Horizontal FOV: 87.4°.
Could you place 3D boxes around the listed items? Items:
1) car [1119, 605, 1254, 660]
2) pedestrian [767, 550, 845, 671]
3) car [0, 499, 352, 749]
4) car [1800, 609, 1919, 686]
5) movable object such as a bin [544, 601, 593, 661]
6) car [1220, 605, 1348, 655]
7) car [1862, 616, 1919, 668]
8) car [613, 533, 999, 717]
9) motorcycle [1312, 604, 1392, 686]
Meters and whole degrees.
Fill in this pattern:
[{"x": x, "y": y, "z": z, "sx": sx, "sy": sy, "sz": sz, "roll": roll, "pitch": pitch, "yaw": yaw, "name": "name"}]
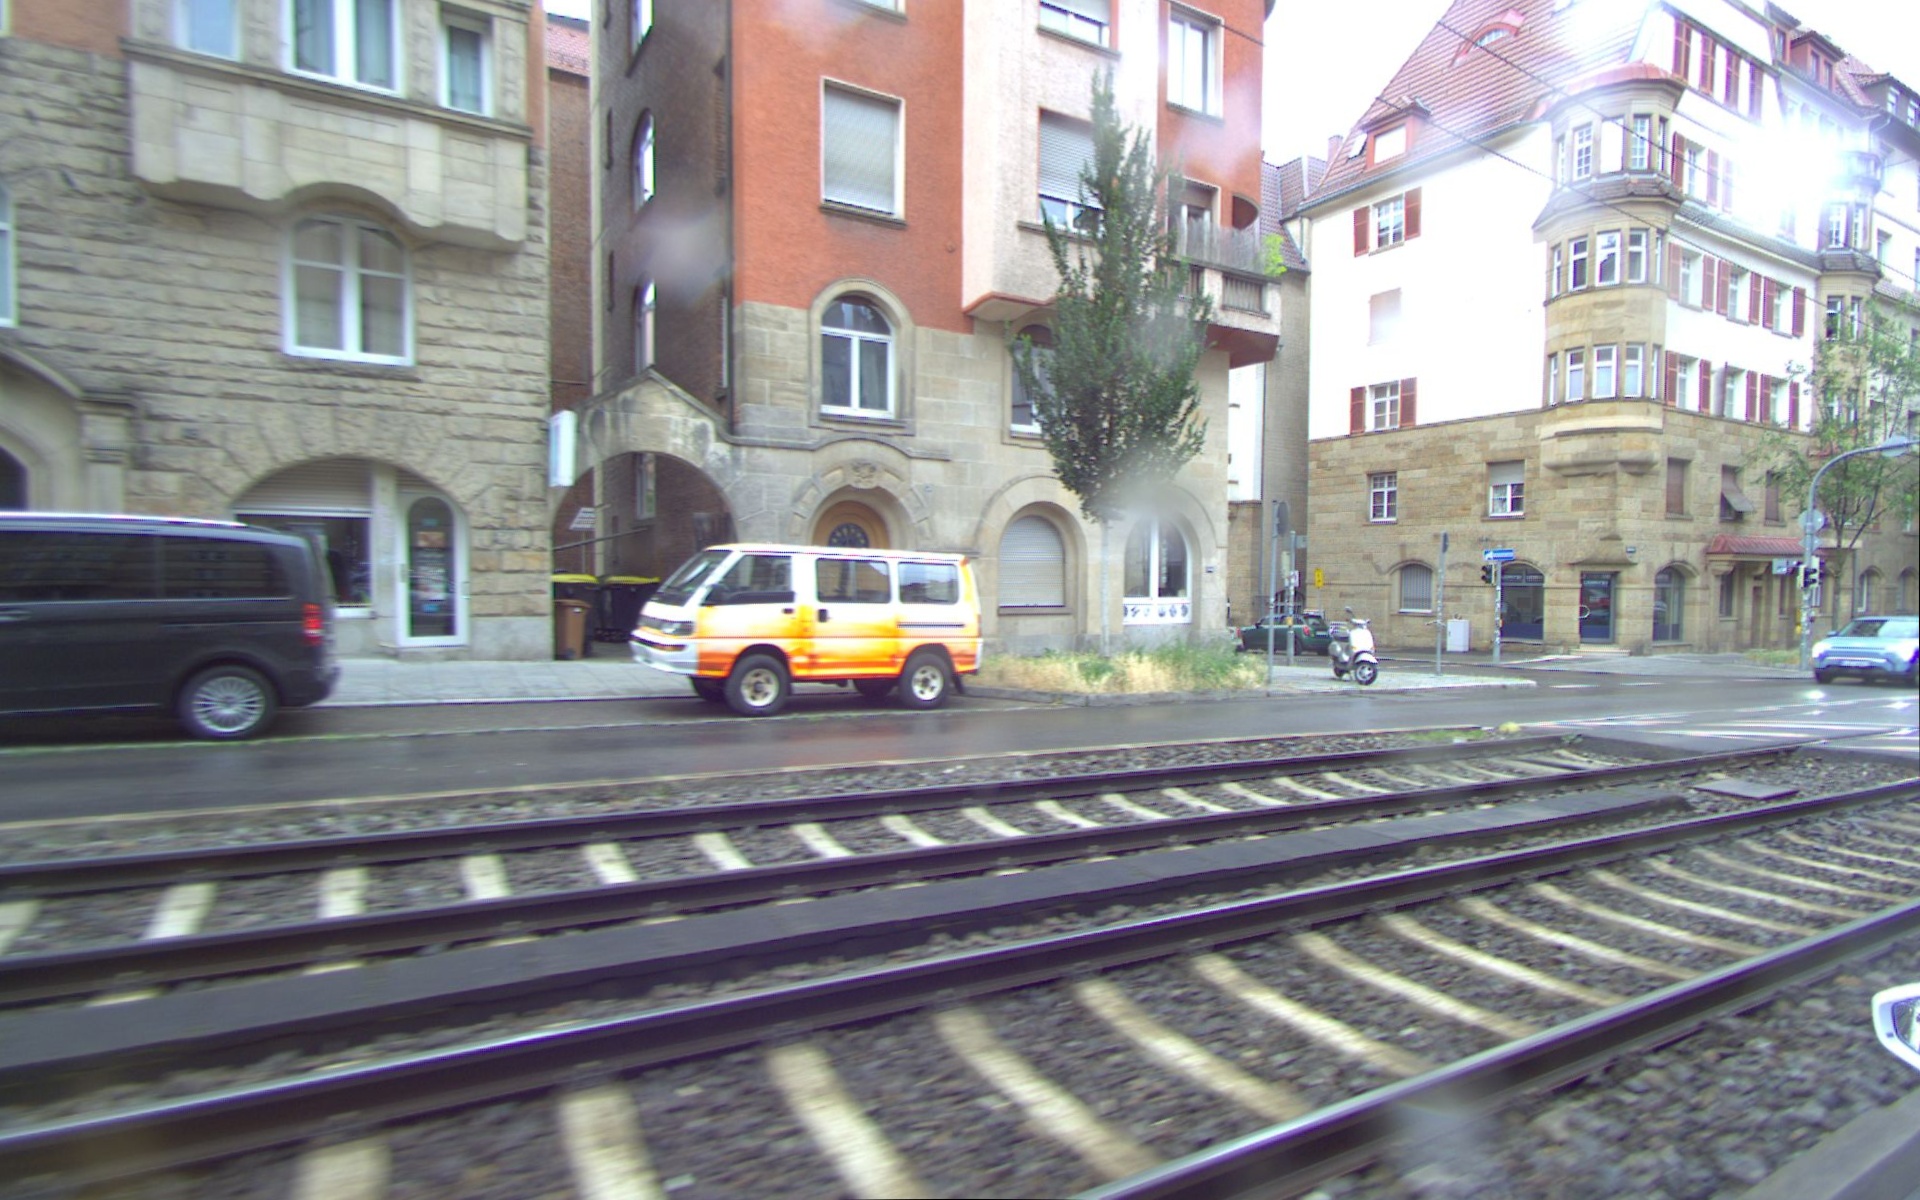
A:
[{"x": 6.750, "y": 0.944, "z": 30.317, "sx": 1.726, "sy": 1.486, "sz": 3.968, "roll": 2, "pitch": 0, "yaw": -30, "name": "car"}, {"x": -2.345, "y": 0.155, "z": 15.288, "sx": 0.882, "sy": 1.743, "sz": 0.713, "roll": 2, "pitch": 5, "yaw": -30, "name": "pedestrian"}, {"x": -8.070, "y": 0.179, "z": 8.650, "sx": 4.778, "sy": 1.956, "sz": 1.896, "roll": 2, "pitch": 0, "yaw": -31, "name": "car"}, {"x": 21.668, "y": 1.088, "z": 23.510, "sx": 4.083, "sy": 1.639, "sz": 1.910, "roll": 2, "pitch": 0, "yaw": -32, "name": "car"}, {"x": -6.096, "y": 0.479, "z": 15.631, "sx": 0.647, "sy": 0.910, "sz": 0.544, "roll": 2, "pitch": 0, "yaw": -27, "name": "movable object such as a bin"}, {"x": 11.435, "y": 1.039, "z": 35.662, "sx": 1.979, "sy": 1.595, "sz": 3.963, "roll": 2, "pitch": 0, "yaw": -33, "name": "car"}, {"x": 31.017, "y": 1.369, "z": 32.472, "sx": 4.130, "sy": 1.549, "sz": 1.680, "roll": 2, "pitch": 0, "yaw": -32, "name": "car"}, {"x": -1.835, "y": 0.325, "z": 12.544, "sx": 4.426, "sy": 1.956, "sz": 1.719, "roll": 2, "pitch": 0, "yaw": -32, "name": "car"}, {"x": 7.053, "y": 0.778, "z": 18.148, "sx": 0.752, "sy": 1.393, "sz": 1.785, "roll": 2, "pitch": 0, "yaw": 2, "name": "motorcycle"}]
